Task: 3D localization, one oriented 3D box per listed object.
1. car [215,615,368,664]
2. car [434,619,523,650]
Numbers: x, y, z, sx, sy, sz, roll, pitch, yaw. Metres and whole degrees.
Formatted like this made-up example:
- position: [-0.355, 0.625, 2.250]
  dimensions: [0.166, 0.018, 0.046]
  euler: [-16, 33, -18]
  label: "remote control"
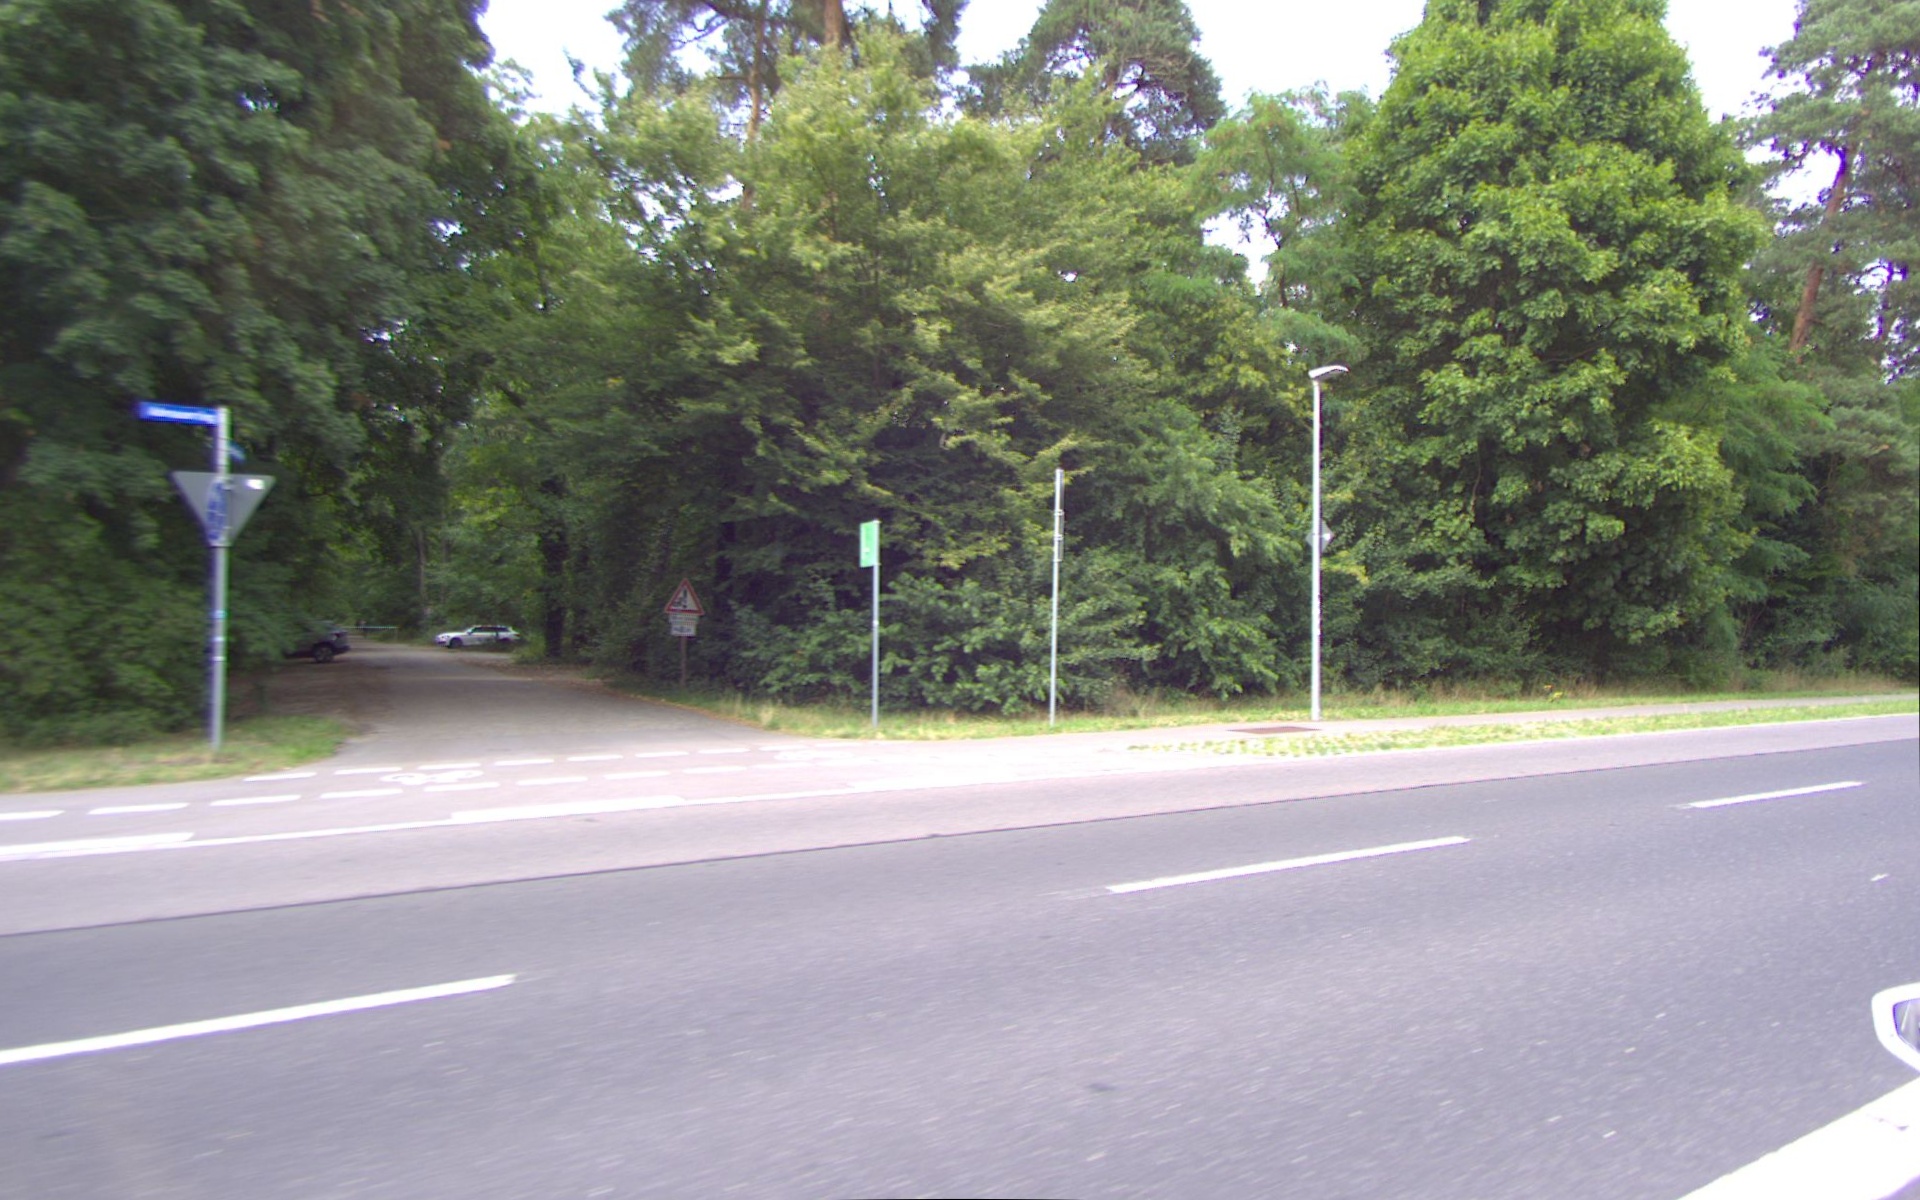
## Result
- position: [-24.505, 1.447, 36.893]
  dimensions: [4.500, 1.607, 1.977]
  euler: [2, 1, -39]
  label: "car"
- position: [-28.985, 2.086, 60.500]
  dimensions: [4.500, 1.714, 1.977]
  euler: [2, 1, -39]
  label: "car"
